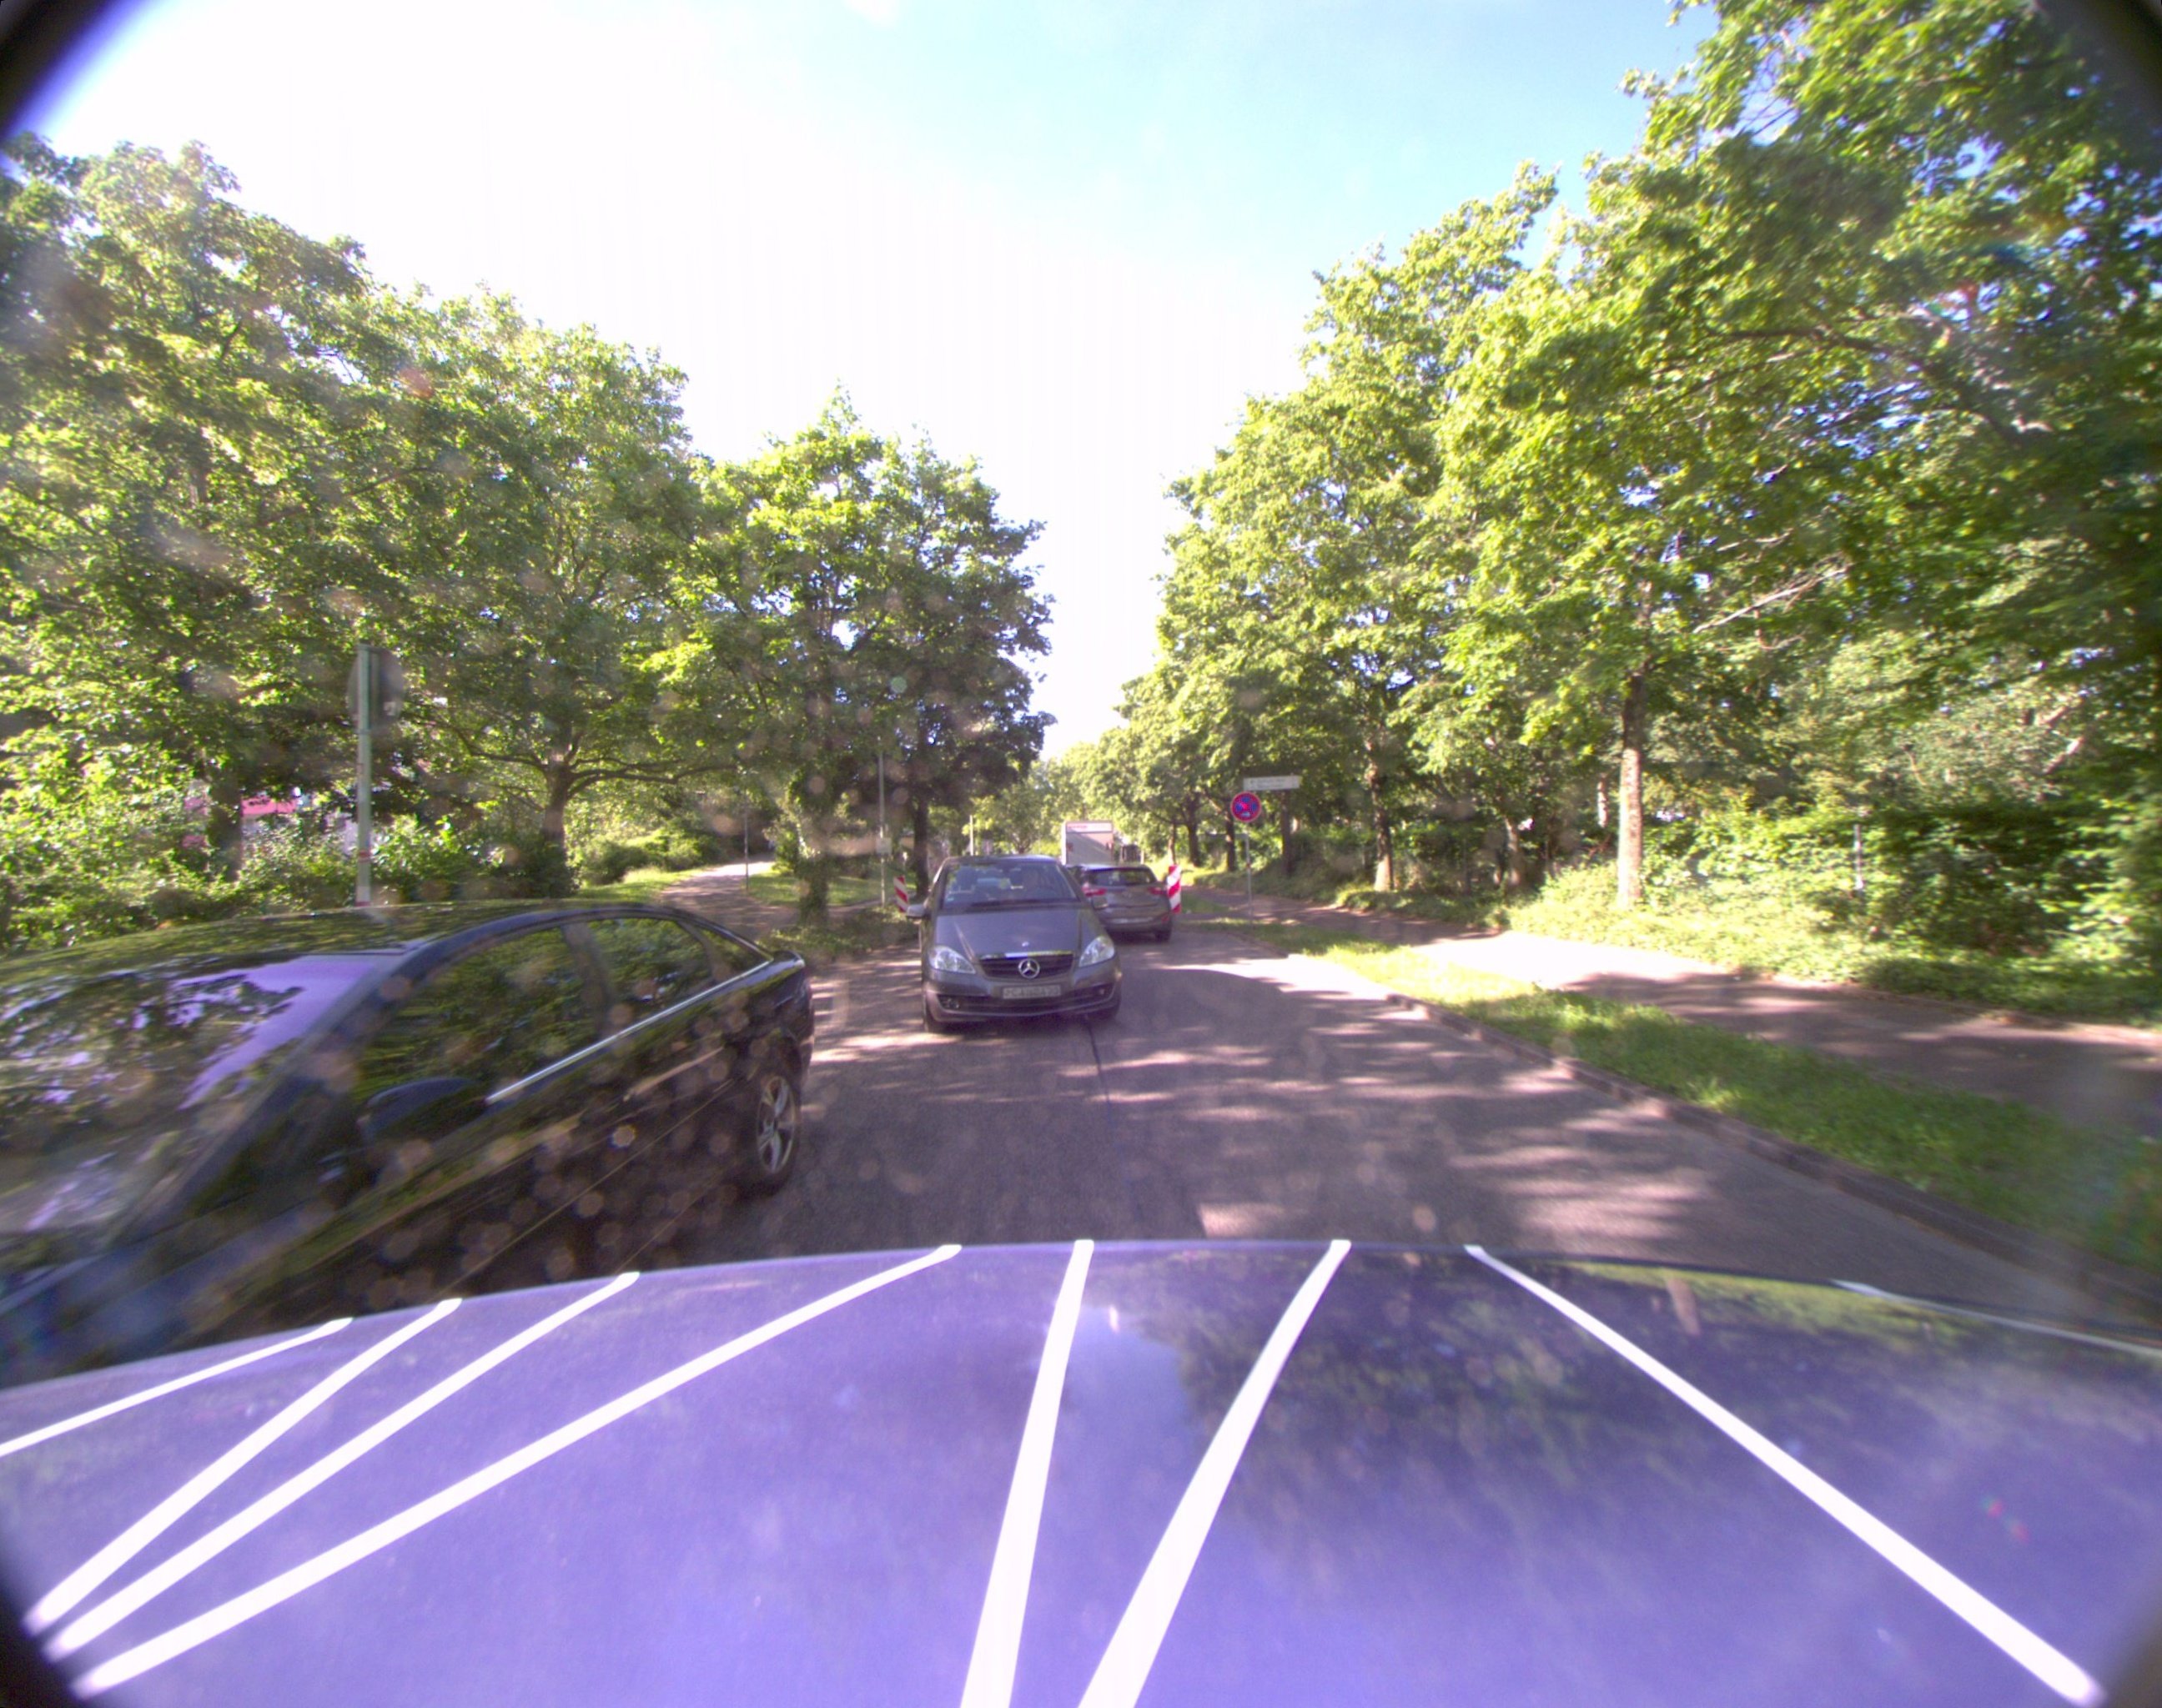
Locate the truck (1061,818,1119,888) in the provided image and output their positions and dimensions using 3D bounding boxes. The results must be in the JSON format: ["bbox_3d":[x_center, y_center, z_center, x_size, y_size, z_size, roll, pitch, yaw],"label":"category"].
[{"bbox_3d":[0.375,-0.048,44.575,2.742,3.620,8.098,-2,0,-3],"label":"truck"}]

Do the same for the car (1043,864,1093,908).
[{"bbox_3d":[-0.408,1.093,26.916,1.604,1.418,3.652,0,0,1],"label":"car"}]

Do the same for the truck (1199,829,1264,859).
[{"bbox_3d":[10.344,-0.653,52.439,3.999,2.002,2.203,0,0,-5],"label":"truck"}]

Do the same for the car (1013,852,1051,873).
[{"bbox_3d":[-5.122,0.866,79.420,2.003,2.002,3.990,-4,1,-37],"label":"car"}]

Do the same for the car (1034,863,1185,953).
[{"bbox_3d":[0.371,0.927,14.847,1.762,1.445,4.237,0,0,-15],"label":"car"}]

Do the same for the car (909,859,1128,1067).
[{"bbox_3d":[-0.905,0.878,8.126,1.736,1.578,3.996,-2,0,-12],"label":"car"}]

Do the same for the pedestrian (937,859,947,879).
[{"bbox_3d":[-13.147,1.412,71.944,0.793,1.821,0.671,-2,0,-3],"label":"pedestrian"}]

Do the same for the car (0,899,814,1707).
[{"bbox_3d":[-2.267,1.028,1.893,1.753,1.472,4.029,-3,1,-1],"label":"car"}]
